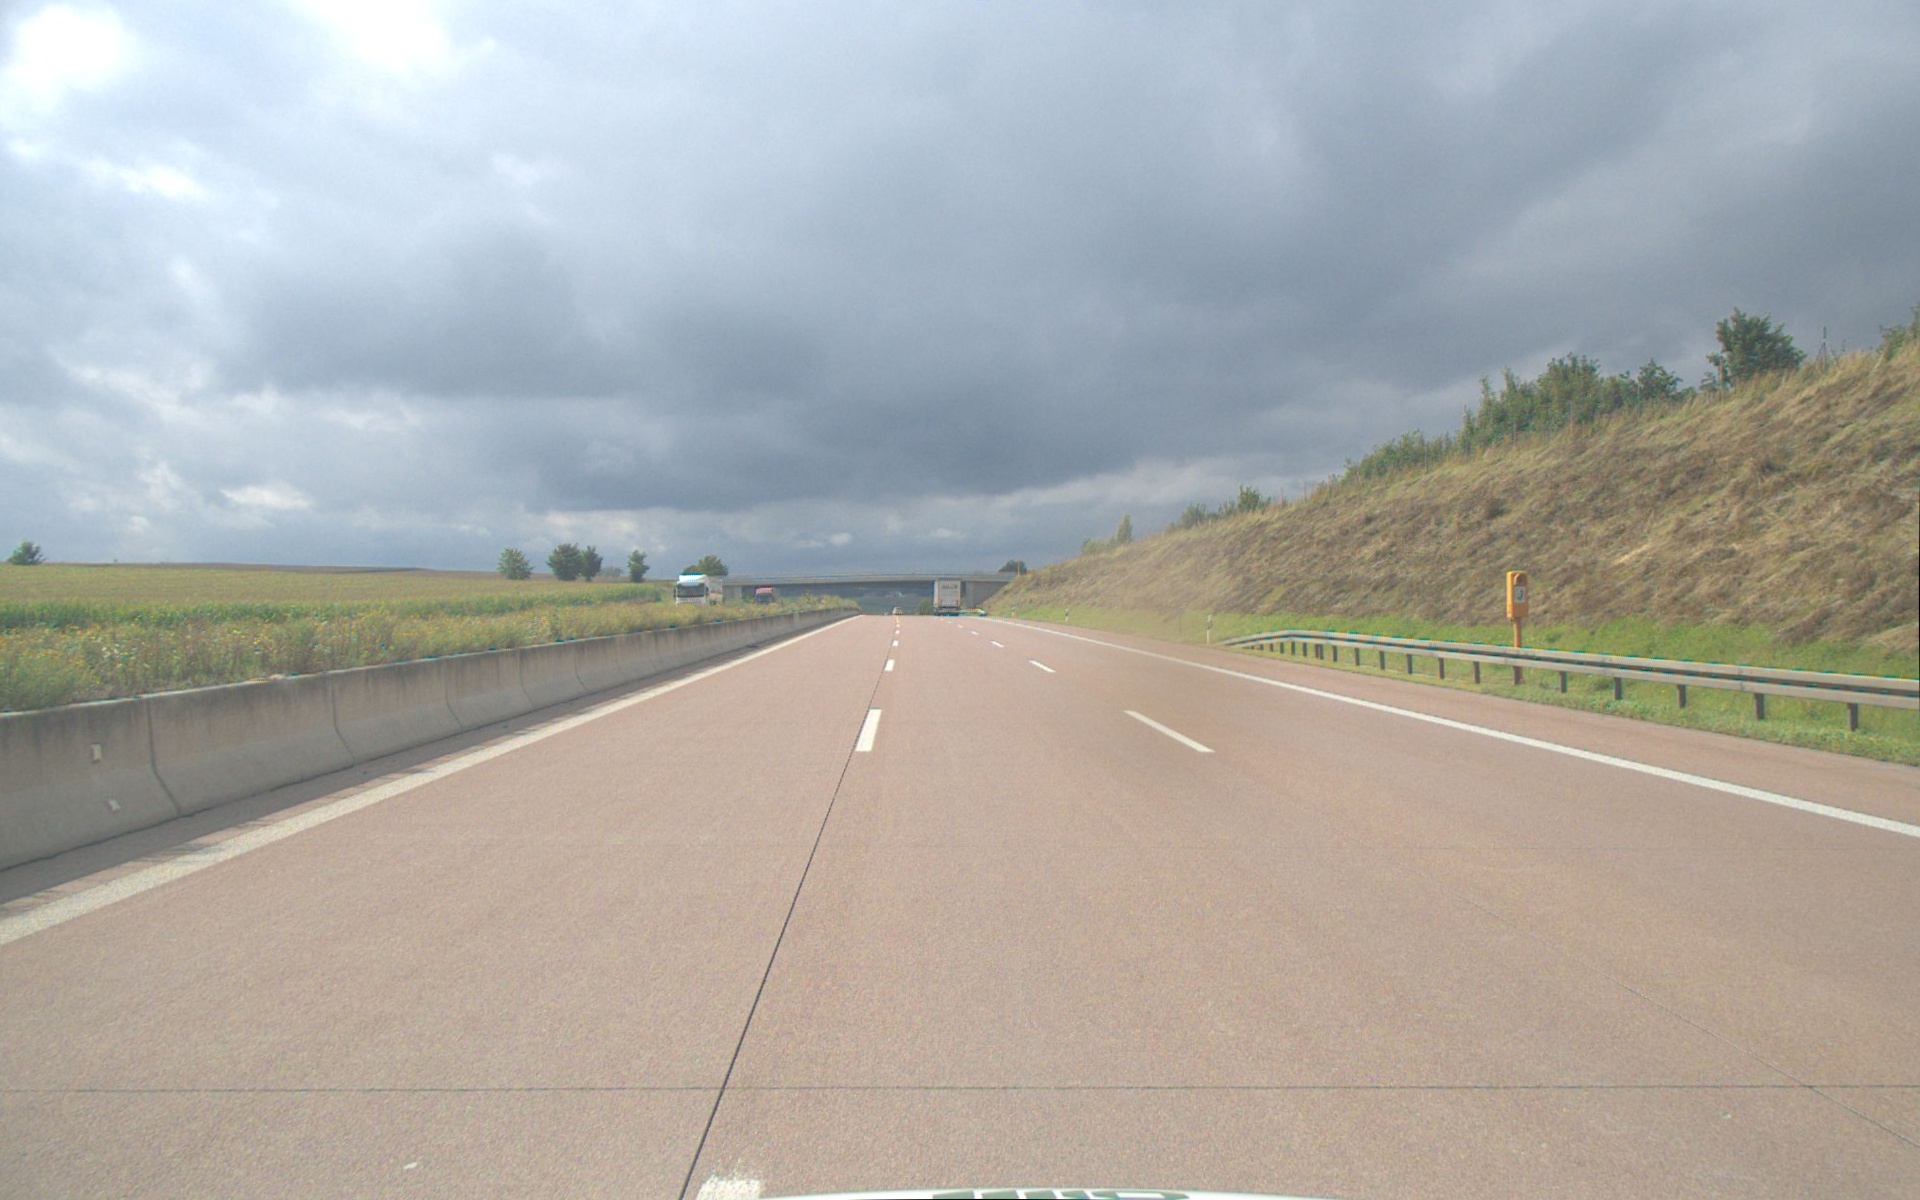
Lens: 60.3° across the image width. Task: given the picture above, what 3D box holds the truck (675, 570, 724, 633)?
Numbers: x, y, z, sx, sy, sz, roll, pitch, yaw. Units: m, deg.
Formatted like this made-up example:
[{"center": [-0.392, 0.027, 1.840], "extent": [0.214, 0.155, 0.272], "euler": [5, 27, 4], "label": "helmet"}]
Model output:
[{"center": [-22.356, 0.080, 142.478], "extent": [2.931, 5.154, 10.979], "euler": [1, 0, -3], "label": "truck"}]

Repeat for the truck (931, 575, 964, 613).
[{"center": [-1.437, -0.728, 186.715], "extent": [3.543, 4.014, 11.173], "euler": [1, 1, -1], "label": "truck"}]
